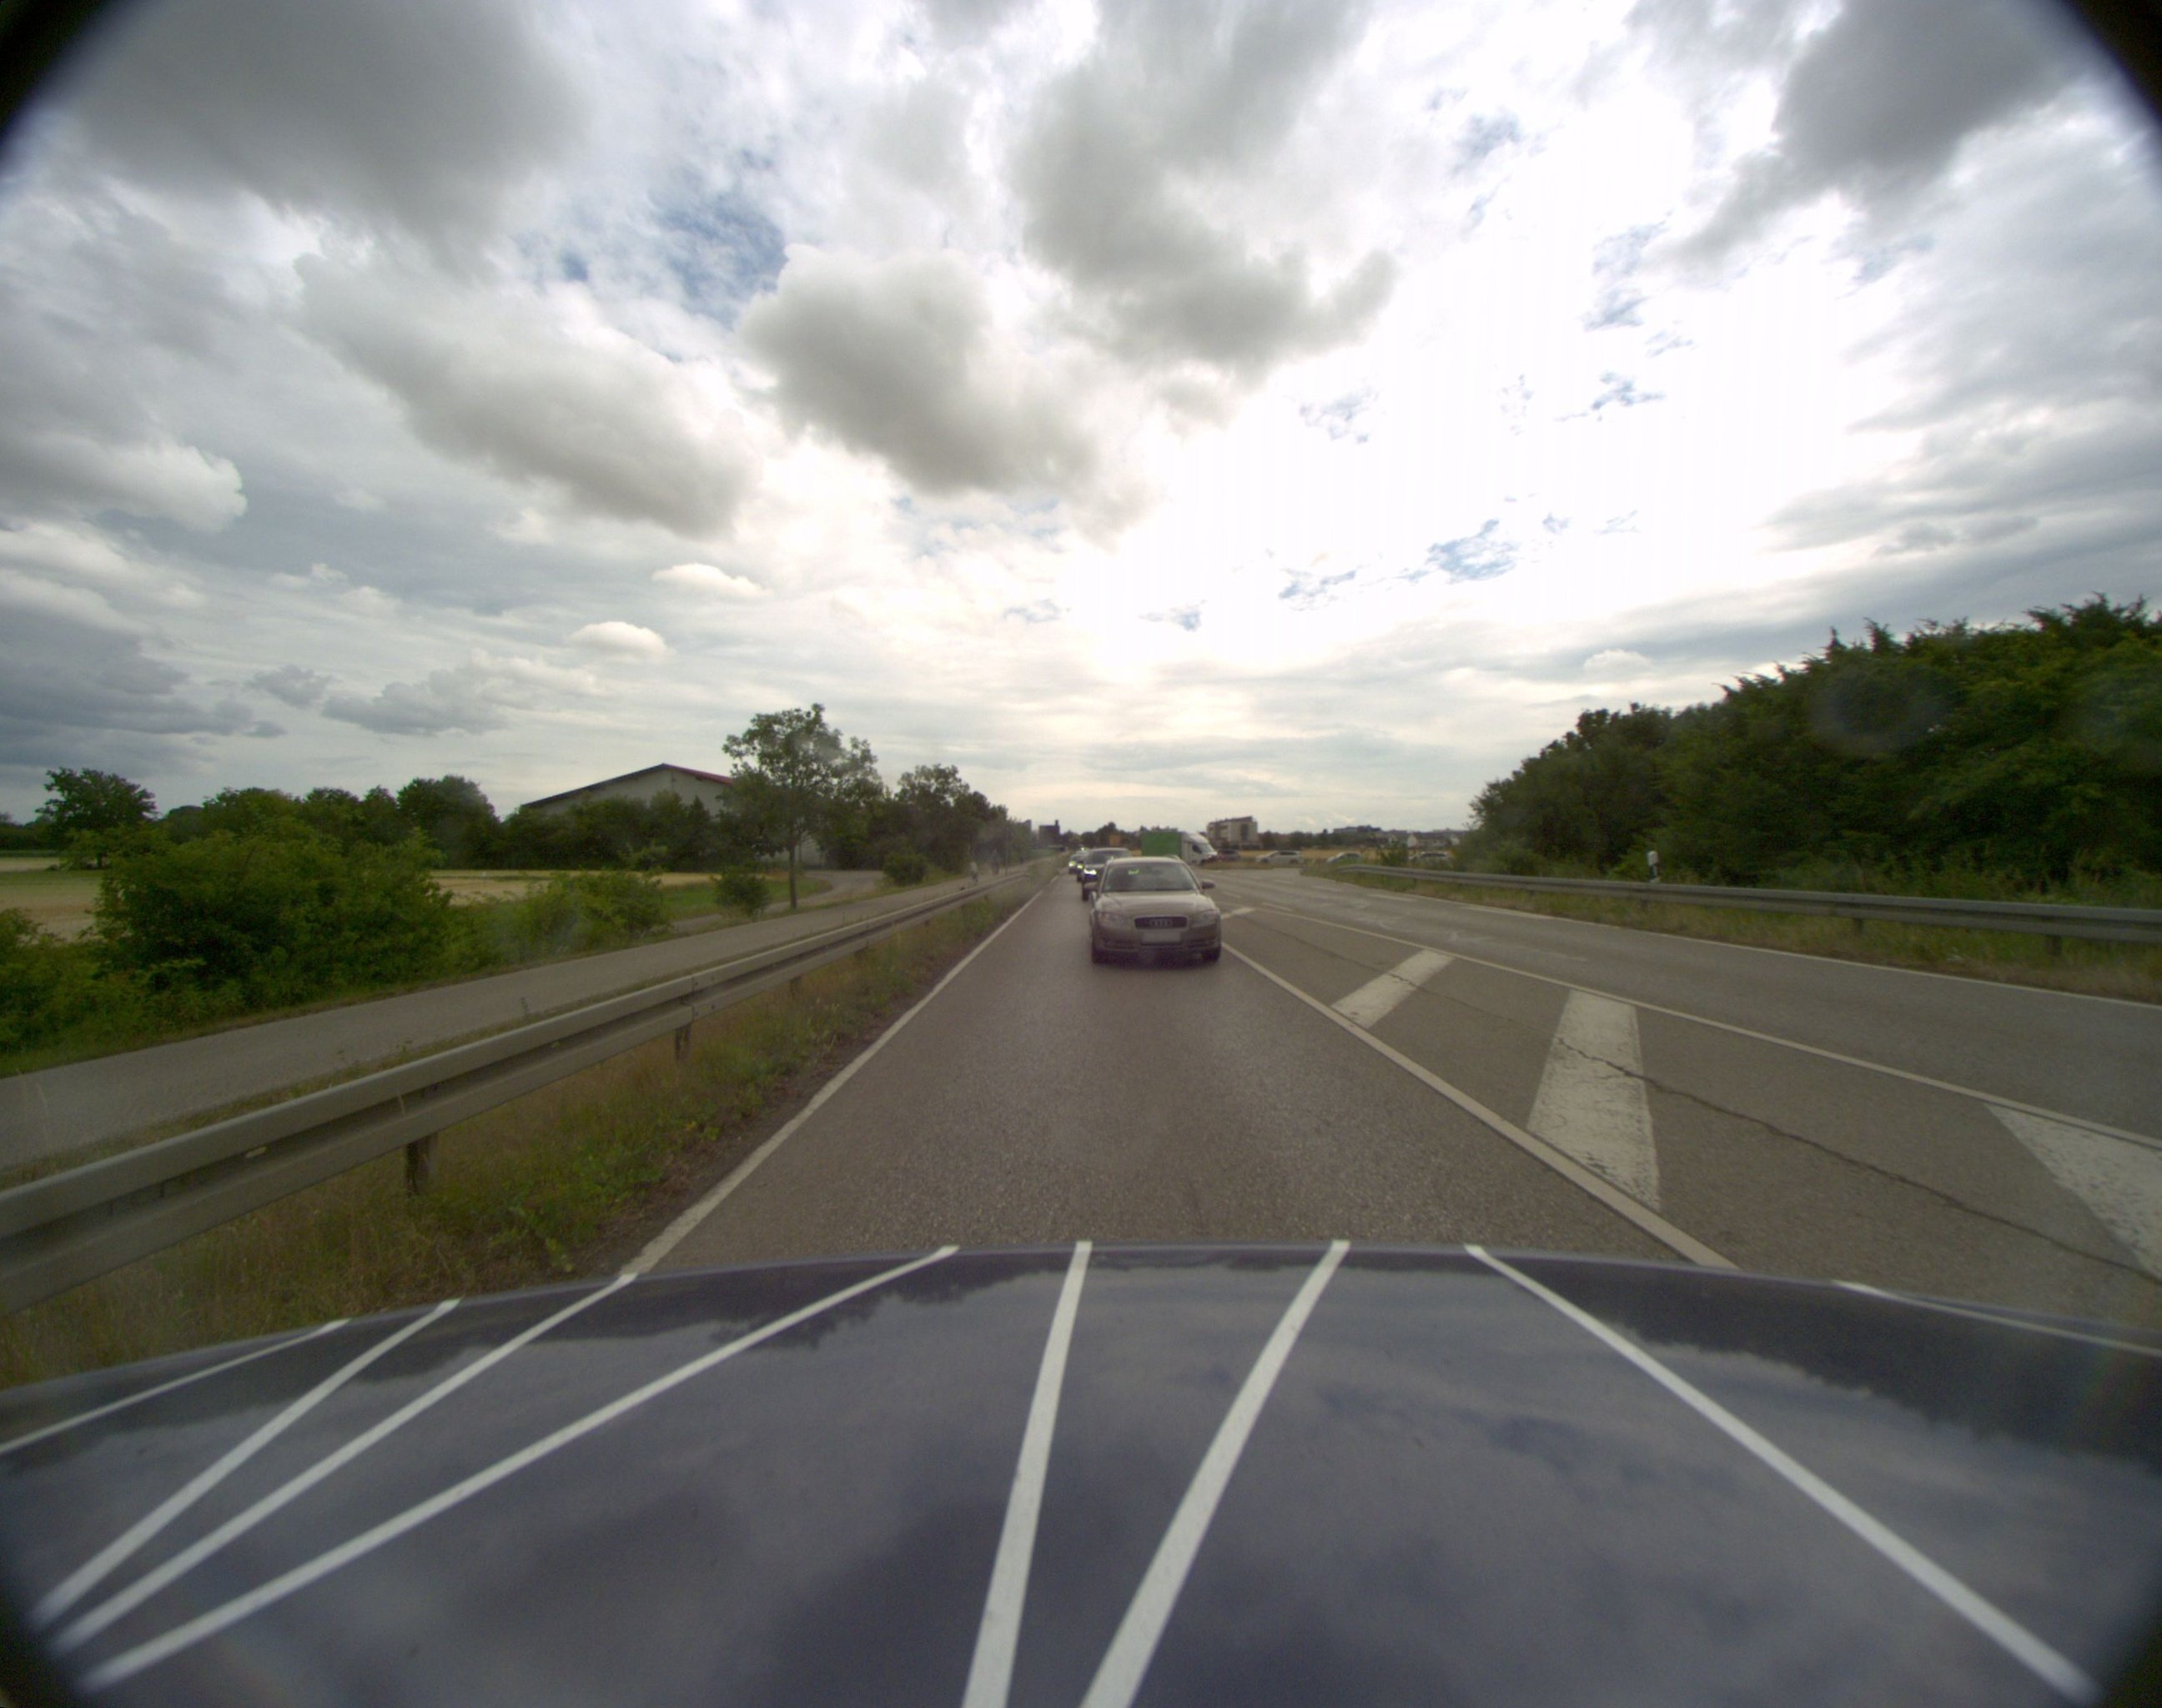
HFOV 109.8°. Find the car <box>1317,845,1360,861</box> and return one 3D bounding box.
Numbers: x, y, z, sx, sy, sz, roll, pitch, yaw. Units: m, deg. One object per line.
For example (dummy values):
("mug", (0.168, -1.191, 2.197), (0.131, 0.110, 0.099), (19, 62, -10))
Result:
("car", (25.123, -0.113, 74.094), (3.714, 1.490, 1.731), (-1, 1, 7))

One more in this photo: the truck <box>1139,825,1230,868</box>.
("truck", (9.143, -0.602, 67.761), (7.584, 3.542, 2.939), (-1, 1, 41))

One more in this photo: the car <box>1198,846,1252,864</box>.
("car", (14.210, 0.091, 75.163), (4.816, 1.680, 1.999), (-1, 1, -4))

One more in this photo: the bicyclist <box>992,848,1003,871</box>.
("bicyclist", (-5.761, 0.352, 52.664), (0.640, 1.573, 0.969), (-1, 1, 0))

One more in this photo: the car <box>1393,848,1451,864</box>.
("car", (32.771, 0.174, 73.164), (4.673, 1.490, 2.001), (-1, 1, 7))

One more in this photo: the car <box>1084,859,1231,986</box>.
("car", (0.943, 0.845, 11.349), (1.730, 1.436, 4.203), (-2, 1, 0))

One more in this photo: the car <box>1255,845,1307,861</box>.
("car", (19.675, -0.117, 74.909), (4.673, 1.490, 2.001), (-1, 1, 7))

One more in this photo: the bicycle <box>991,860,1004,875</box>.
("bicycle", (-5.758, 0.952, 52.695), (0.640, 0.973, 2.072), (-1, 1, 0))

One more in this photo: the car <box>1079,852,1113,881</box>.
("car", (0.797, 0.644, 41.694), (1.730, 1.478, 4.203), (-2, 1, 0))

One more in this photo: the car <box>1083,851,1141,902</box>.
("car", (0.969, 0.699, 25.707), (1.730, 1.534, 4.203), (-2, 1, 0))

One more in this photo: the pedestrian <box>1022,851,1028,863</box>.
("pedestrian", (-7.018, 0.388, 95.325), (0.592, 1.512, 0.501), (-2, 1, 7))

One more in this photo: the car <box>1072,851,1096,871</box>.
("car", (0.236, 0.509, 57.989), (1.730, 1.436, 4.203), (-2, 1, 0))

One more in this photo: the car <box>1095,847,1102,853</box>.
("car", (5.410, -1.272, 236.602), (1.998, 2.002, 3.999), (-2, 1, 1))
